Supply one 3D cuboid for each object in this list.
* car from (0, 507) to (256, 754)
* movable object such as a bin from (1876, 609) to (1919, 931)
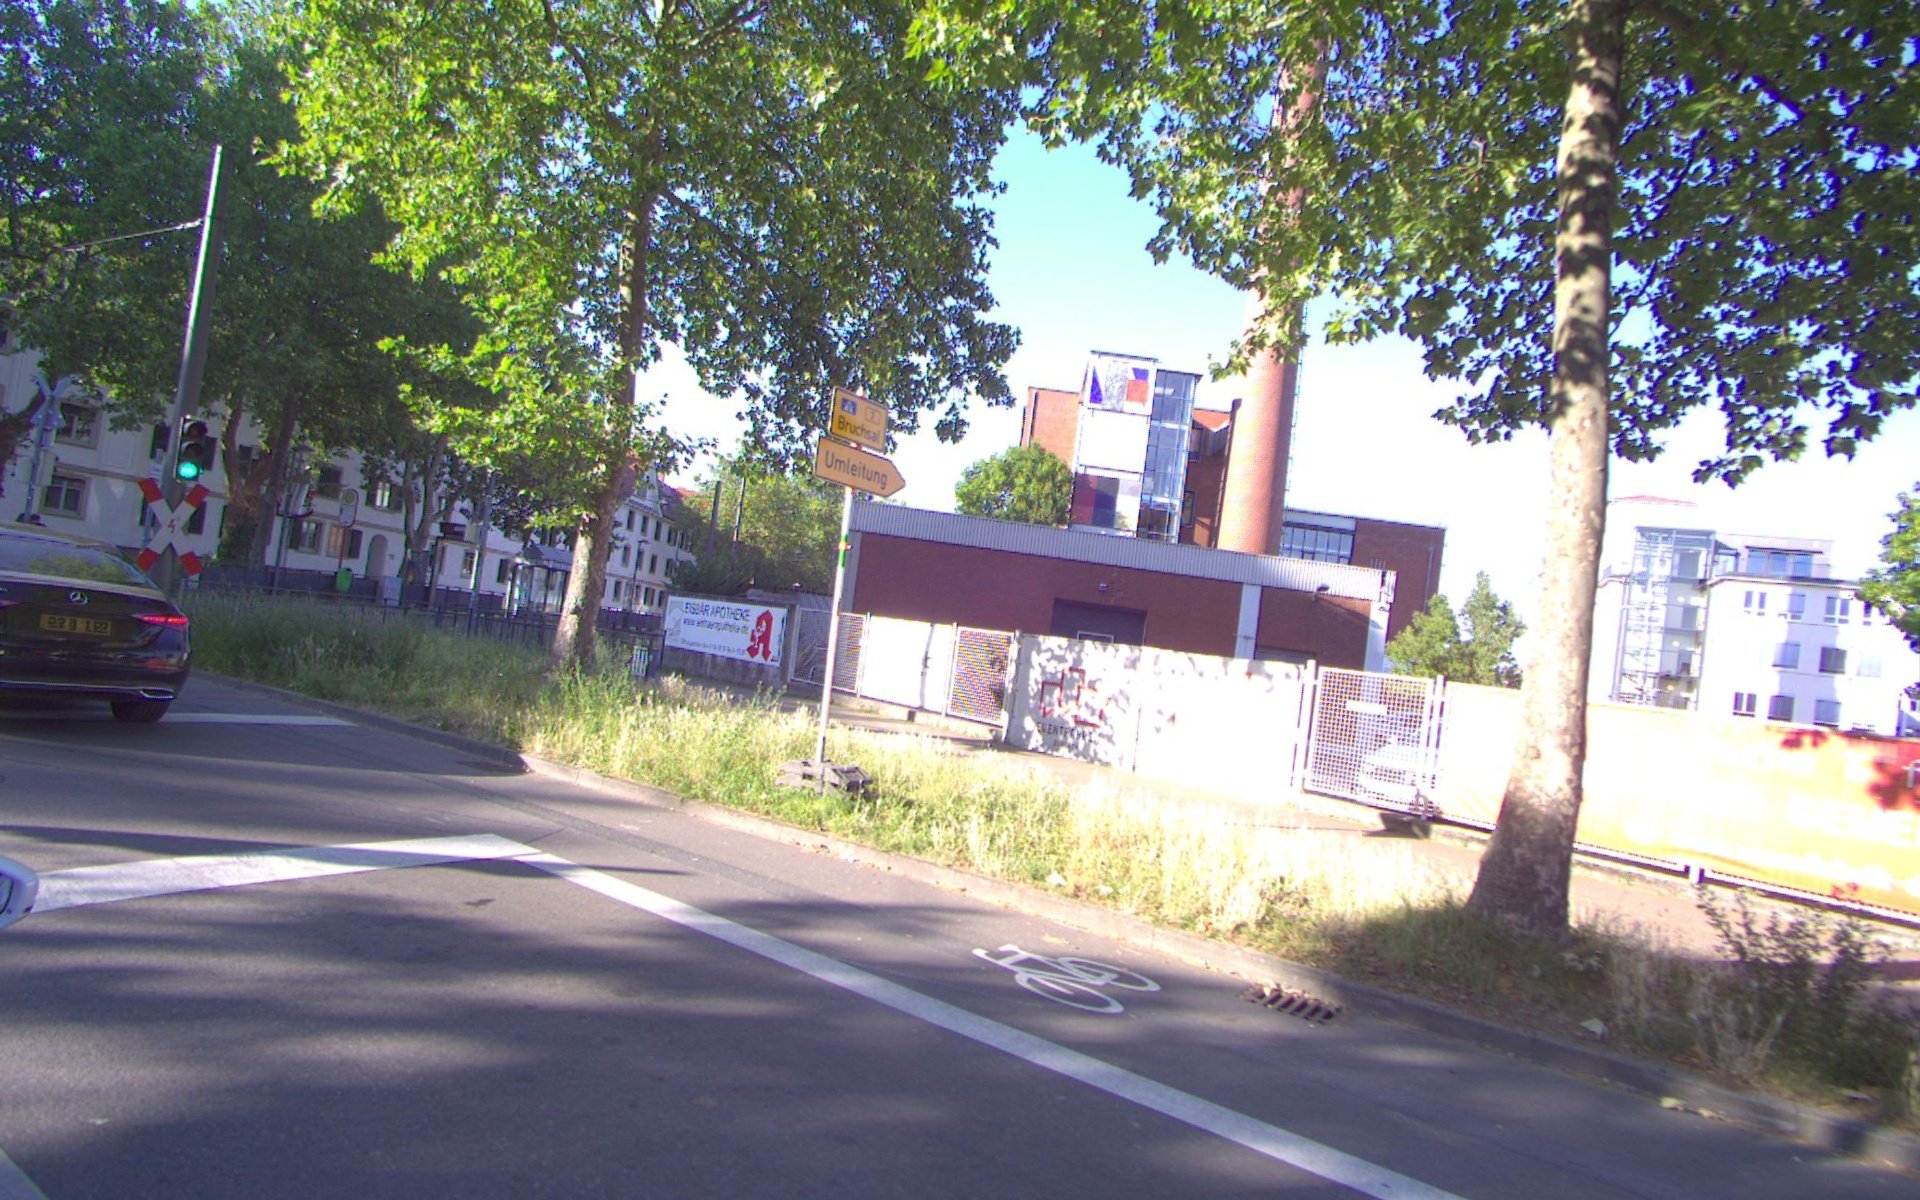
[{"bbox_3d":[-7.750,0.044,8.041,4.310,1.507,1.894,8,-3,34],"label":"car"},{"bbox_3d":[11.546,1.814,10.004,3.173,3.081,6.270,5,-5,41],"label":"movable object such as a bin"}]
